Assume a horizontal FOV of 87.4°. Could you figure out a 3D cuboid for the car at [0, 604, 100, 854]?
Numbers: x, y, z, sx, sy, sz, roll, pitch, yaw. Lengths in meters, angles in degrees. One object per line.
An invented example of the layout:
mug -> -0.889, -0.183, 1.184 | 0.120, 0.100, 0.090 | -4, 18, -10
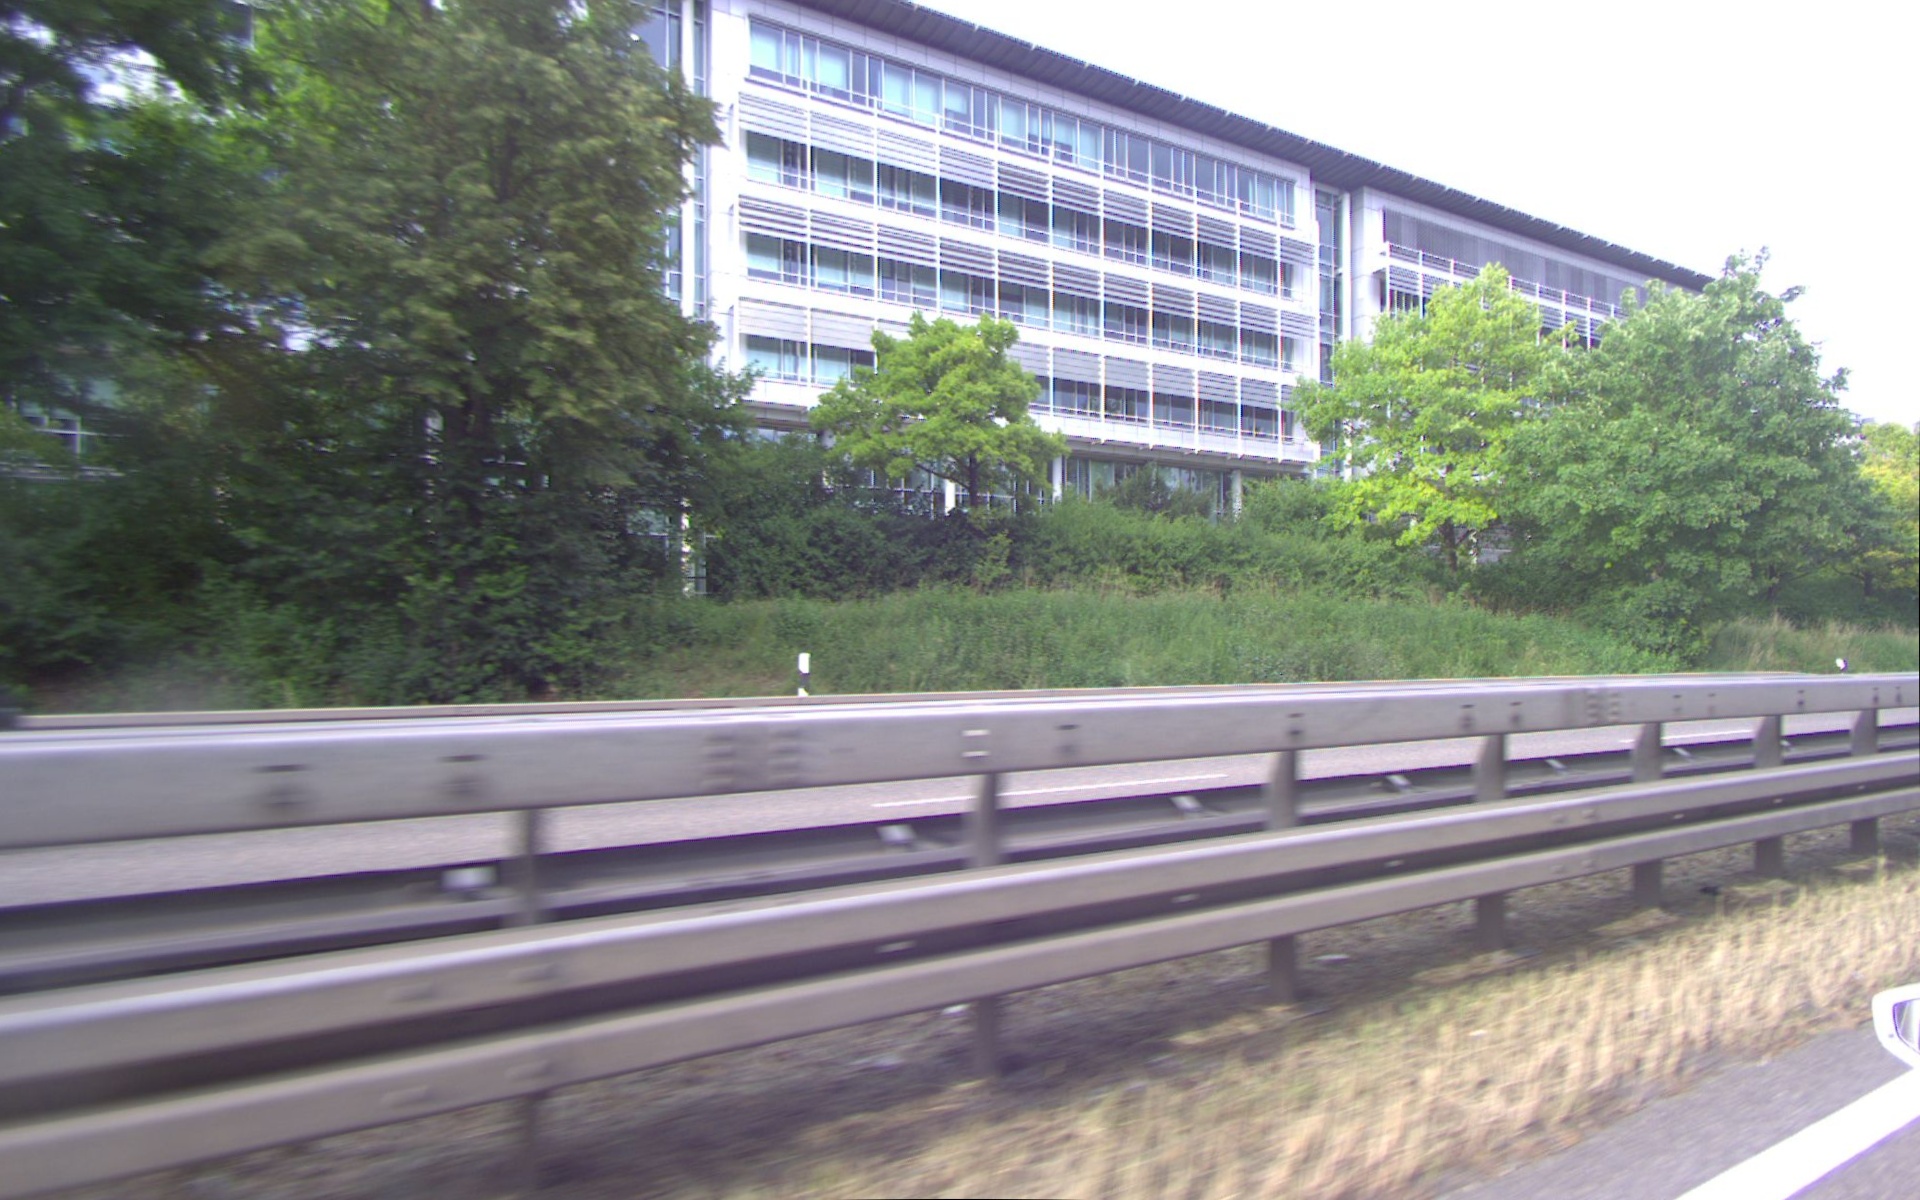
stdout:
car -> -8.356, 0.825, 6.238 | 4.261, 1.610, 1.735 | 2, -4, -31
